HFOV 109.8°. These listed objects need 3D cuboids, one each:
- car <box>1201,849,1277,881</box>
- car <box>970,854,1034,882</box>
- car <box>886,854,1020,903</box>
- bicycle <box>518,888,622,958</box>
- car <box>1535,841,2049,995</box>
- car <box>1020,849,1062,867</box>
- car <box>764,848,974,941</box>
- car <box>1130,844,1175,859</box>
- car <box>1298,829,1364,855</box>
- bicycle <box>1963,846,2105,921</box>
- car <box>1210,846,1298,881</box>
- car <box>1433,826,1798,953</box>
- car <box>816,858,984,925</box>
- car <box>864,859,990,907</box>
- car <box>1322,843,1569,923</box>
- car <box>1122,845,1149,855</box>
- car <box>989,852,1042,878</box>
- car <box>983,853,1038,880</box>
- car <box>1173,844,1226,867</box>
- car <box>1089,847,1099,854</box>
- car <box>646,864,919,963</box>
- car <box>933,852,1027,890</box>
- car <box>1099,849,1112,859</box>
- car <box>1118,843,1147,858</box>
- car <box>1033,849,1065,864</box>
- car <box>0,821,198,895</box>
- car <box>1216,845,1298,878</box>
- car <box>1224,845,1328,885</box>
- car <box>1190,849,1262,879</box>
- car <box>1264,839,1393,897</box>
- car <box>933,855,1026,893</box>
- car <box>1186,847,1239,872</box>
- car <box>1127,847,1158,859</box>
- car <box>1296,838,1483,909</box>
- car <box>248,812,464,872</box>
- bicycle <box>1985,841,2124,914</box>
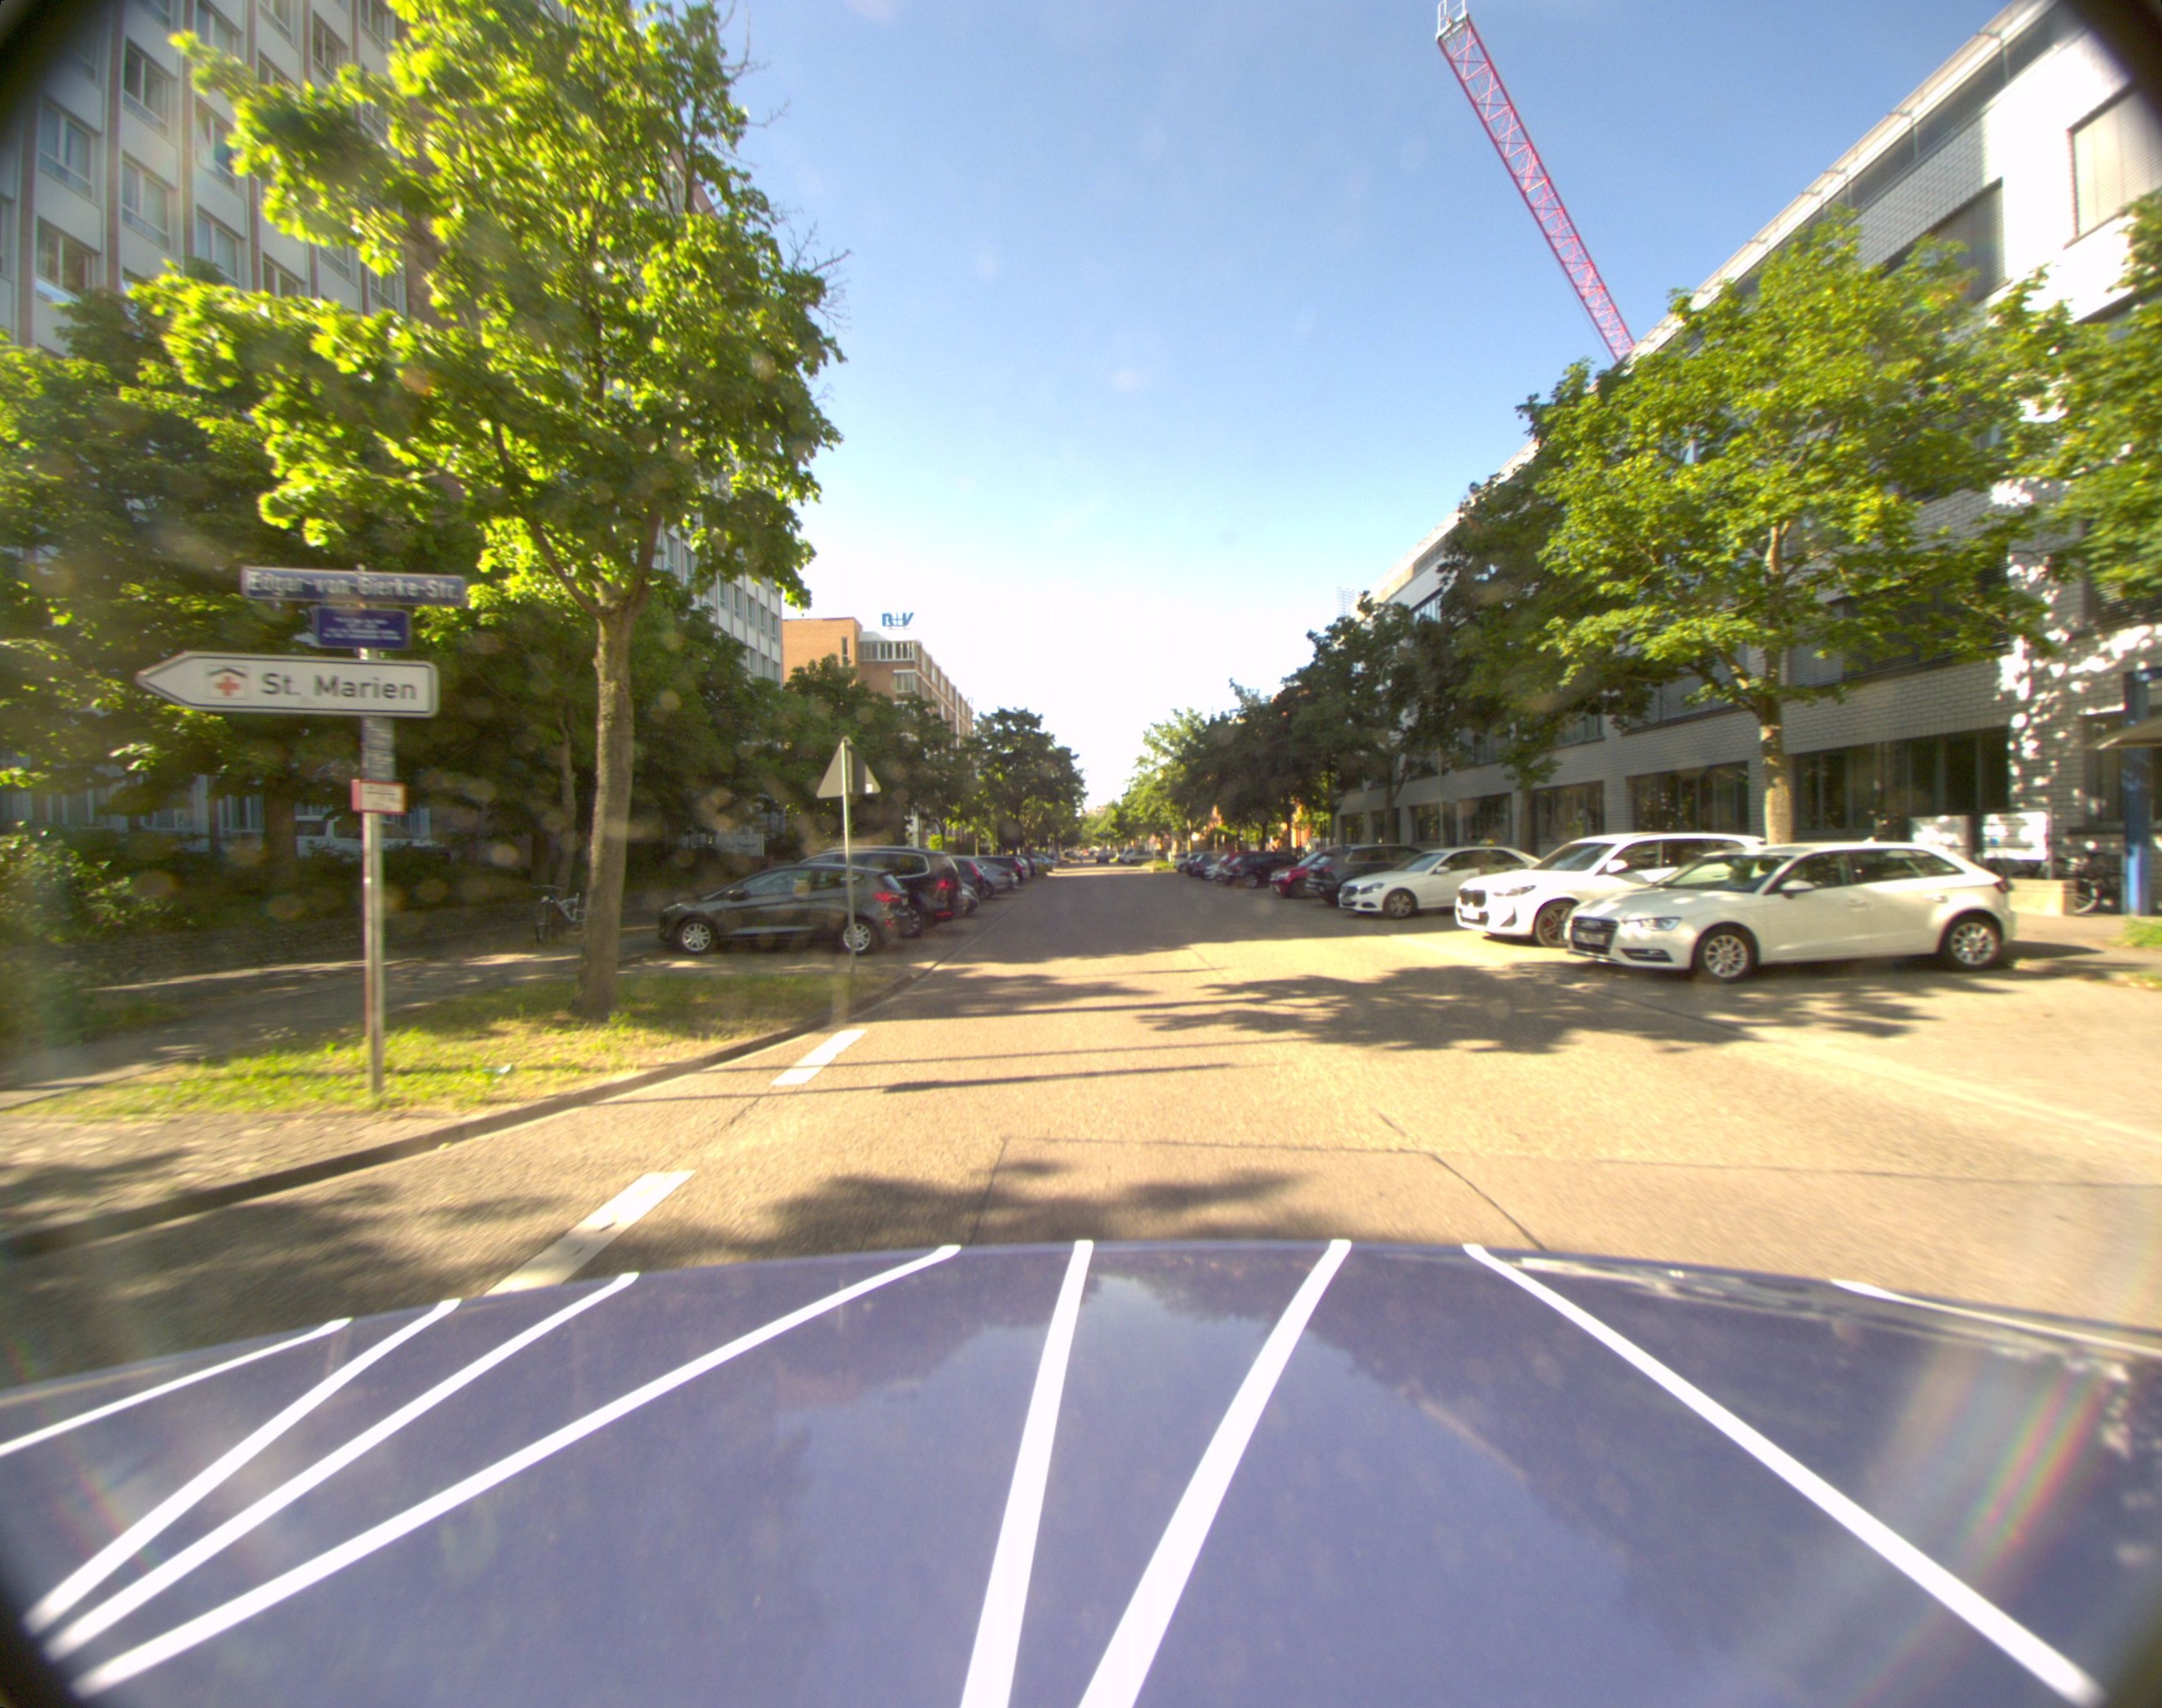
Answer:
[{"bbox_3d":[8.134,0.549,39.211,3.527,1.520,1.657,-2,1,-1],"label":"car"},{"bbox_3d":[-4.270,0.742,41.288,3.203,1.471,1.589,0,1,4],"label":"car"},{"bbox_3d":[-4.493,0.841,27.113,4.431,1.544,1.859,-2,1,-1],"label":"car"},{"bbox_3d":[-8.803,1.156,13.196,0.302,0.987,1.957,-2,1,4],"label":"bicycle"},{"bbox_3d":[7.905,0.654,8.760,4.269,1.471,1.800,-2,1,-1],"label":"car"},{"bbox_3d":[-4.070,0.417,77.339,4.165,1.696,1.999,-2,1,-2],"label":"car"},{"bbox_3d":[-4.131,0.760,15.207,3.681,1.741,1.724,0,1,3],"label":"car"},{"bbox_3d":[8.473,-0.289,90.560,5.252,1.616,1.953,-2,1,2],"label":"car"},{"bbox_3d":[22.646,-1.085,68.861,5.329,2.087,1.932,-2,1,-2],"label":"car"},{"bbox_3d":[15.884,0.452,12.723,0.338,1.168,1.627,-2,1,1],"label":"bicycle"},{"bbox_3d":[7.713,0.414,34.075,3.539,1.428,1.657,-2,1,-1],"label":"car"},{"bbox_3d":[8.053,0.479,11.783,4.236,1.593,1.952,-3,2,1],"label":"car"},{"bbox_3d":[-4.432,0.906,19.113,3.881,1.556,1.808,0,1,-4],"label":"car"},{"bbox_3d":[-4.896,0.908,24.521,3.721,1.473,1.723,0,1,-2],"label":"car"},{"bbox_3d":[7.951,0.600,16.850,4.521,1.443,1.940,-3,1,-4],"label":"car"},{"bbox_3d":[8.251,-0.545,115.248,3.997,1.406,1.594,-1,1,-2],"label":"car"},{"bbox_3d":[-4.047,0.663,47.145,3.053,1.595,1.604,0,1,3],"label":"car"},{"bbox_3d":[-4.039,0.708,43.837,2.997,1.451,1.497,0,1,3],"label":"car"},{"bbox_3d":[8.708,0.108,56.134,3.630,1.499,1.617,-2,1,-1],"label":"car"},{"bbox_3d":[2.935,-0.765,168.657,1.951,1.617,4.000,-2,1,3],"label":"car"},{"bbox_3d":[-4.785,0.947,12.588,3.845,1.438,1.592,2,-1,-3],"label":"car"},{"bbox_3d":[-4.395,0.724,33.661,3.982,1.540,1.683,-1,1,-4],"label":"car"},{"bbox_3d":[3.694,-0.007,112.122,1.766,1.365,4.000,-2,1,3],"label":"car"},{"bbox_3d":[7.404,-0.542,109.885,3.997,2.095,1.999,-2,1,-2],"label":"car"},{"bbox_3d":[-4.039,0.299,95.598,3.998,1.774,1.952,-2,1,-4],"label":"car"},{"bbox_3d":[-22.544,0.096,16.571,4.237,1.498,1.723,-1,1,-5],"label":"car"},{"bbox_3d":[8.482,0.361,36.832,3.539,1.437,1.657,-2,1,-3],"label":"car"},{"bbox_3d":[8.005,0.461,31.408,3.832,1.405,1.687,-3,-1,-1],"label":"car"},{"bbox_3d":[7.928,0.533,41.716,3.539,1.497,1.646,-2,1,-1],"label":"car"},{"bbox_3d":[7.835,0.434,24.290,3.581,1.658,1.655,-3,1,3],"label":"car"},{"bbox_3d":[-4.120,0.787,31.274,3.582,1.498,1.724,0,1,-1],"label":"car"},{"bbox_3d":[7.986,0.328,46.216,2.933,1.435,1.389,-2,1,0],"label":"car"},{"bbox_3d":[8.300,-0.136,102.666,3.968,1.463,1.953,-2,1,2],"label":"car"},{"bbox_3d":[7.988,0.495,19.949,4.122,1.611,1.803,-2,1,2],"label":"car"},{"bbox_3d":[-22.497,-0.371,23.739,4.729,1.676,1.875,-2,1,-4],"label":"car"},{"bbox_3d":[16.793,0.372,13.168,0.338,1.168,1.627,-2,1,1],"label":"bicycle"}]
